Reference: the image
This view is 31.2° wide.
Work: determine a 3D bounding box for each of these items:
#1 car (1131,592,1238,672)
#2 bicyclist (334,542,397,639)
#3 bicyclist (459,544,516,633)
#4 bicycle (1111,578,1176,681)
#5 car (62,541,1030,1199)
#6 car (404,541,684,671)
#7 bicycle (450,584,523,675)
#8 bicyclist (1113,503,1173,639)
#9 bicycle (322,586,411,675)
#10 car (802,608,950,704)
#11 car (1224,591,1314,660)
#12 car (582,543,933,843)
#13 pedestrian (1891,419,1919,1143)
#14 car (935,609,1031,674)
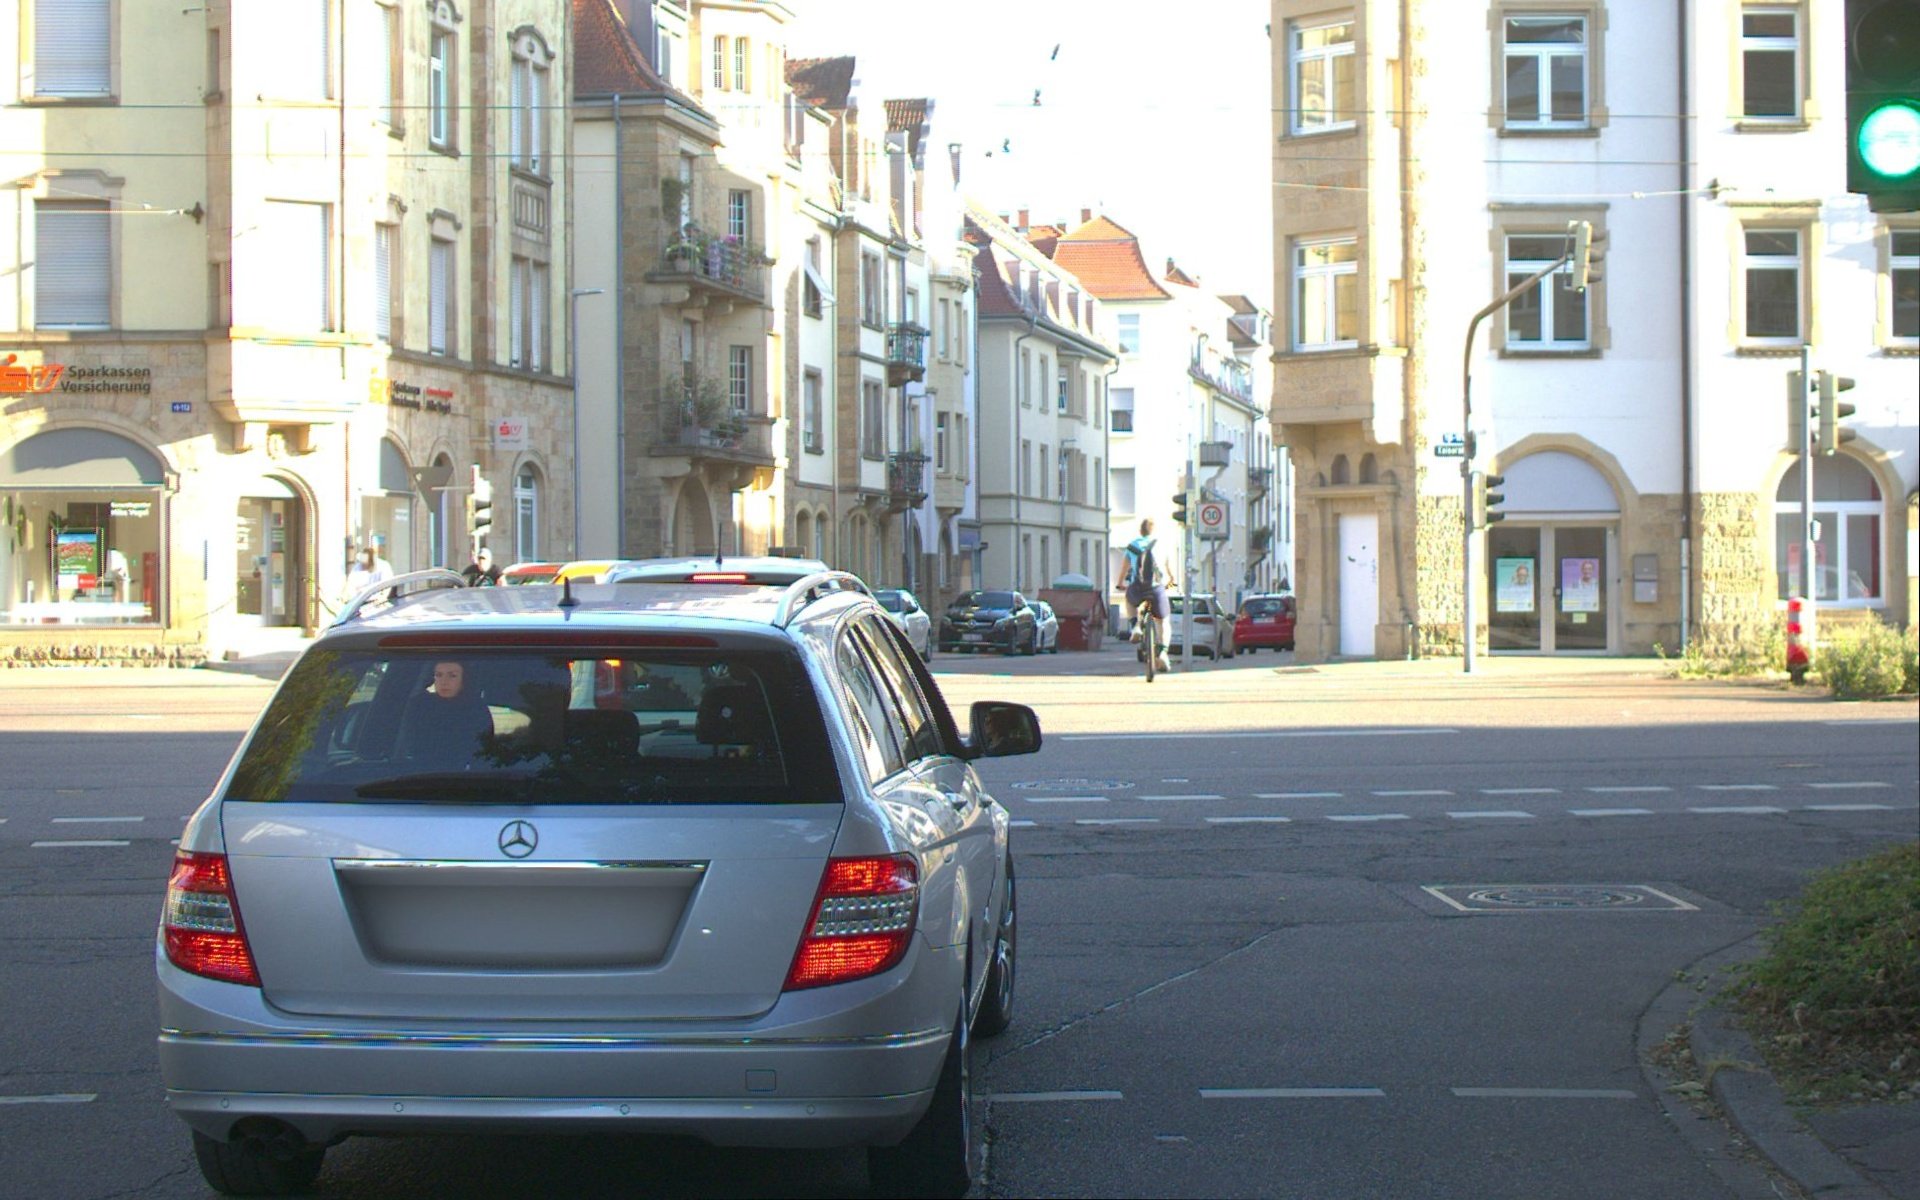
[{"bbox_3d":[4.800,0.658,73.007,1.830,1.610,3.998,1,0,10],"label":"car"},{"bbox_3d":[-7.665,-0.125,44.325,0.658,1.232,0.767,1,0,1],"label":"bicyclist"},{"bbox_3d":[-6.210,-0.154,45.189,0.610,1.154,0.767,1,0,1],"label":"bicyclist"},{"bbox_3d":[2.029,0.307,38.225,0.619,1.101,2.552,1,0,1],"label":"bicycle"},{"bbox_3d":[-0.782,0.621,8.847,1.732,1.472,4.172,1,0,4],"label":"car"},{"bbox_3d":[-6.328,0.082,52.718,1.918,1.893,4.301,1,0,34],"label":"car"},{"bbox_3d":[-6.204,0.371,45.089,0.650,1.101,1.924,1,2,1],"label":"bicycle"},{"bbox_3d":[2.033,-0.322,38.250,0.610,1.488,0.767,1,0,1],"label":"bicyclist"},{"bbox_3d":[-7.666,0.381,44.509,0.650,1.101,2.552,1,0,1],"label":"bicycle"},{"bbox_3d":[-1.543,1.024,64.882,1.831,1.700,3.998,1,0,13],"label":"car"},{"bbox_3d":[8.010,0.638,88.841,1.831,1.700,3.998,1,0,12],"label":"car"},{"bbox_3d":[-1.031,0.456,19.068,1.732,1.475,3.815,1,0,-1],"label":"car"},{"bbox_3d":[2.745,0.451,8.553,0.700,1.800,0.666,1,0,5],"label":"pedestrian"},{"bbox_3d":[0.616,1.056,89.611,1.831,1.610,3.998,1,0,10],"label":"car"}]
